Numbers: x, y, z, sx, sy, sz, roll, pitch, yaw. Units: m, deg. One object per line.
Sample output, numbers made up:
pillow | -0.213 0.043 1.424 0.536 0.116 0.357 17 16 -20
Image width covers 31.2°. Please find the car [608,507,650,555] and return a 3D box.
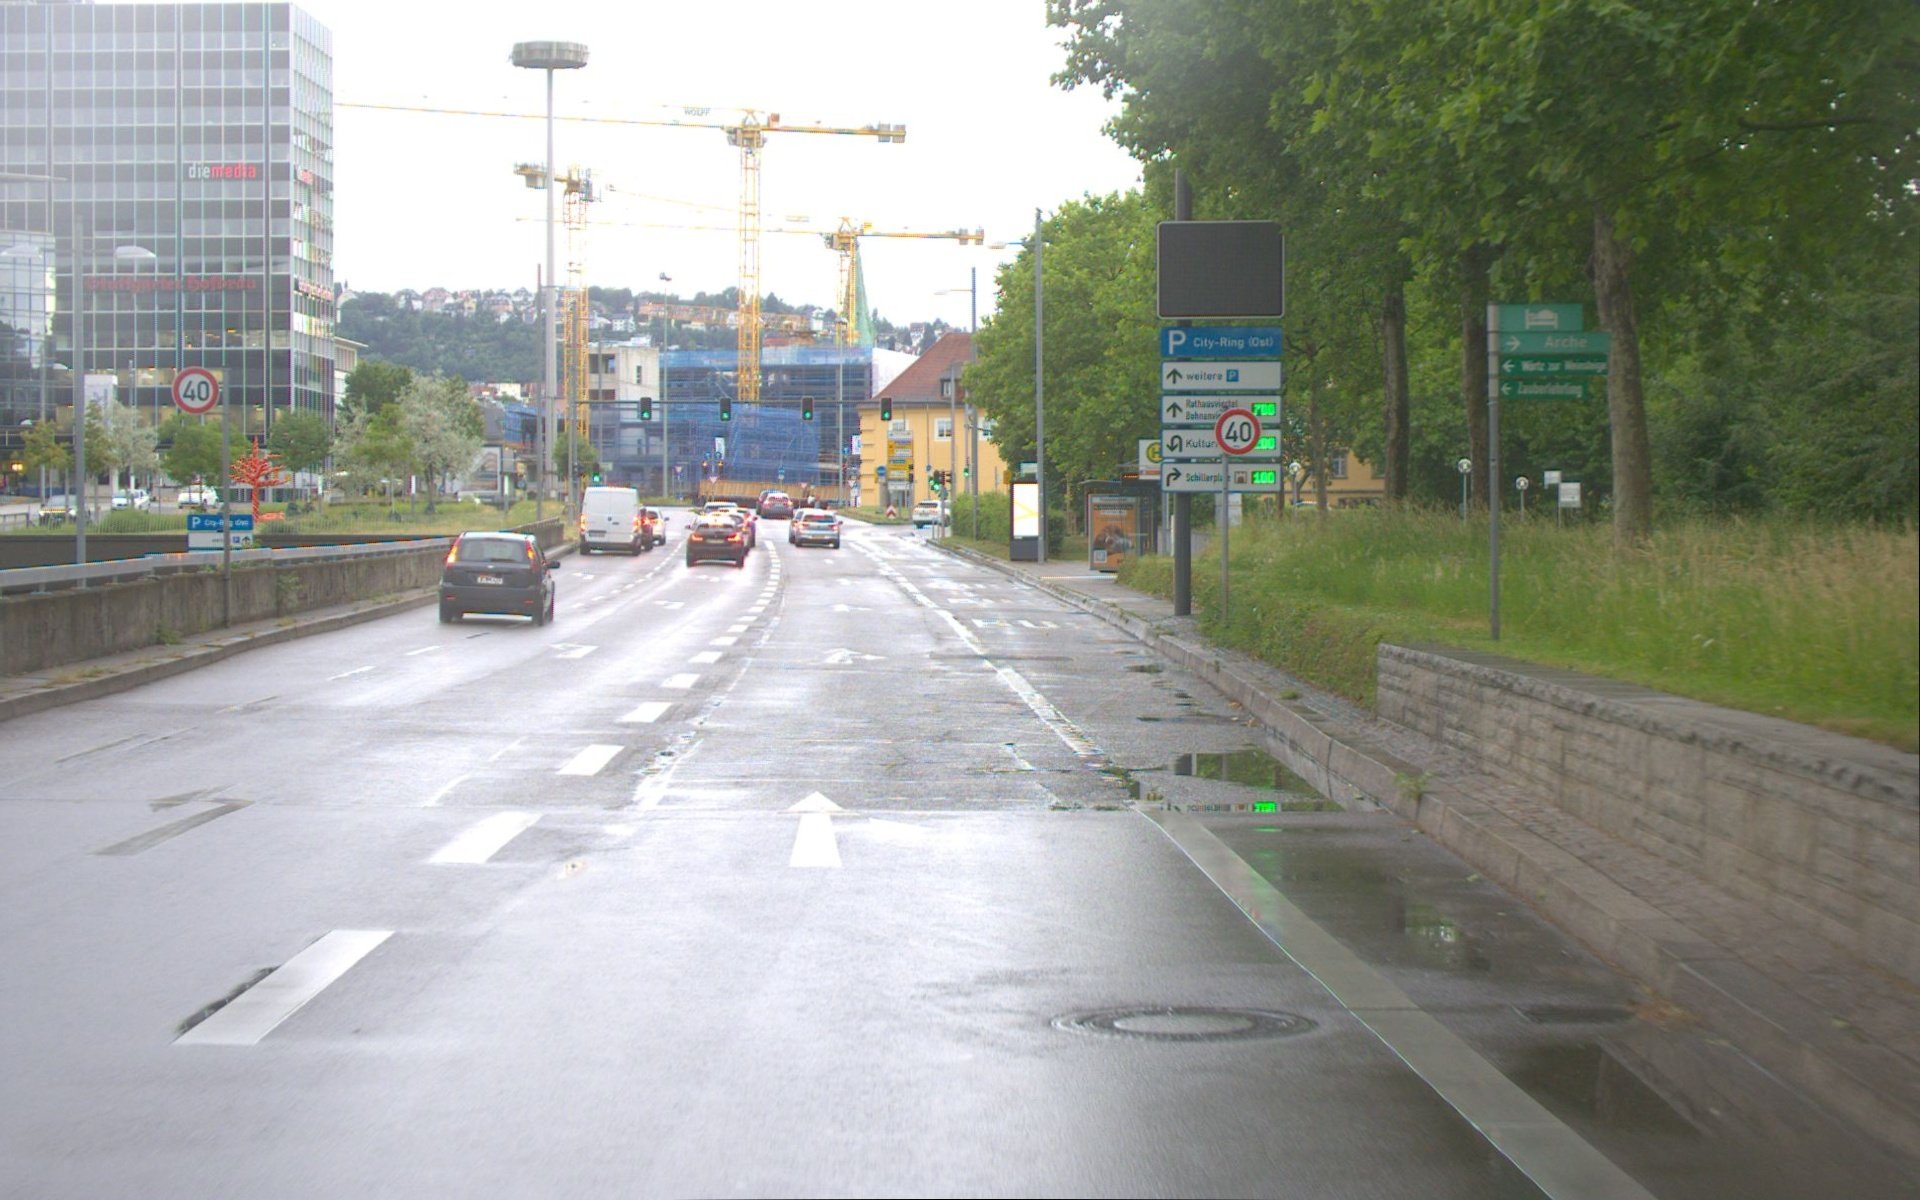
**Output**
car | -12.061 -2.505 125.329 1.464 1.700 3.142 1 1 -5

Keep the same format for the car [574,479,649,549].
car | -12.033 -2.949 118.920 2.292 2.306 5.006 1 1 -3

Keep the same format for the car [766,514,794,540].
car | -7.488 -3.029 143.181 1.076 0.987 1.972 1 0 0

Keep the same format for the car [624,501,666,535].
car | -12.345 -3.224 134.947 1.551 1.256 2.581 1 1 -4

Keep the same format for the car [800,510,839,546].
car | -5.587 -2.860 136.903 1.444 1.354 2.412 1 1 0

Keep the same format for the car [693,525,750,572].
car | -8.581 -1.851 123.658 1.880 1.647 3.459 1 1 -6

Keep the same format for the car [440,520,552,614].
car | -7.380 -0.533 54.962 1.542 1.410 3.902 1 1 -5

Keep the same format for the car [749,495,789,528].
car | -11.312 -5.263 204.132 2.161 1.873 3.771 1 1 0

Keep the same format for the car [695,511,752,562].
car | -7.486 -2.032 108.555 1.753 1.466 4.223 1 2 -5

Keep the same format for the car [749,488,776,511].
car | -12.436 -6.317 216.425 1.479 1.355 3.136 1 1 0

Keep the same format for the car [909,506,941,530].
car | -1.857 -4.348 182.294 1.636 1.170 3.265 1 0 0

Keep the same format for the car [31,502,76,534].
car | -42.721 -3.865 162.076 1.464 1.435 2.963 1 1 -3
